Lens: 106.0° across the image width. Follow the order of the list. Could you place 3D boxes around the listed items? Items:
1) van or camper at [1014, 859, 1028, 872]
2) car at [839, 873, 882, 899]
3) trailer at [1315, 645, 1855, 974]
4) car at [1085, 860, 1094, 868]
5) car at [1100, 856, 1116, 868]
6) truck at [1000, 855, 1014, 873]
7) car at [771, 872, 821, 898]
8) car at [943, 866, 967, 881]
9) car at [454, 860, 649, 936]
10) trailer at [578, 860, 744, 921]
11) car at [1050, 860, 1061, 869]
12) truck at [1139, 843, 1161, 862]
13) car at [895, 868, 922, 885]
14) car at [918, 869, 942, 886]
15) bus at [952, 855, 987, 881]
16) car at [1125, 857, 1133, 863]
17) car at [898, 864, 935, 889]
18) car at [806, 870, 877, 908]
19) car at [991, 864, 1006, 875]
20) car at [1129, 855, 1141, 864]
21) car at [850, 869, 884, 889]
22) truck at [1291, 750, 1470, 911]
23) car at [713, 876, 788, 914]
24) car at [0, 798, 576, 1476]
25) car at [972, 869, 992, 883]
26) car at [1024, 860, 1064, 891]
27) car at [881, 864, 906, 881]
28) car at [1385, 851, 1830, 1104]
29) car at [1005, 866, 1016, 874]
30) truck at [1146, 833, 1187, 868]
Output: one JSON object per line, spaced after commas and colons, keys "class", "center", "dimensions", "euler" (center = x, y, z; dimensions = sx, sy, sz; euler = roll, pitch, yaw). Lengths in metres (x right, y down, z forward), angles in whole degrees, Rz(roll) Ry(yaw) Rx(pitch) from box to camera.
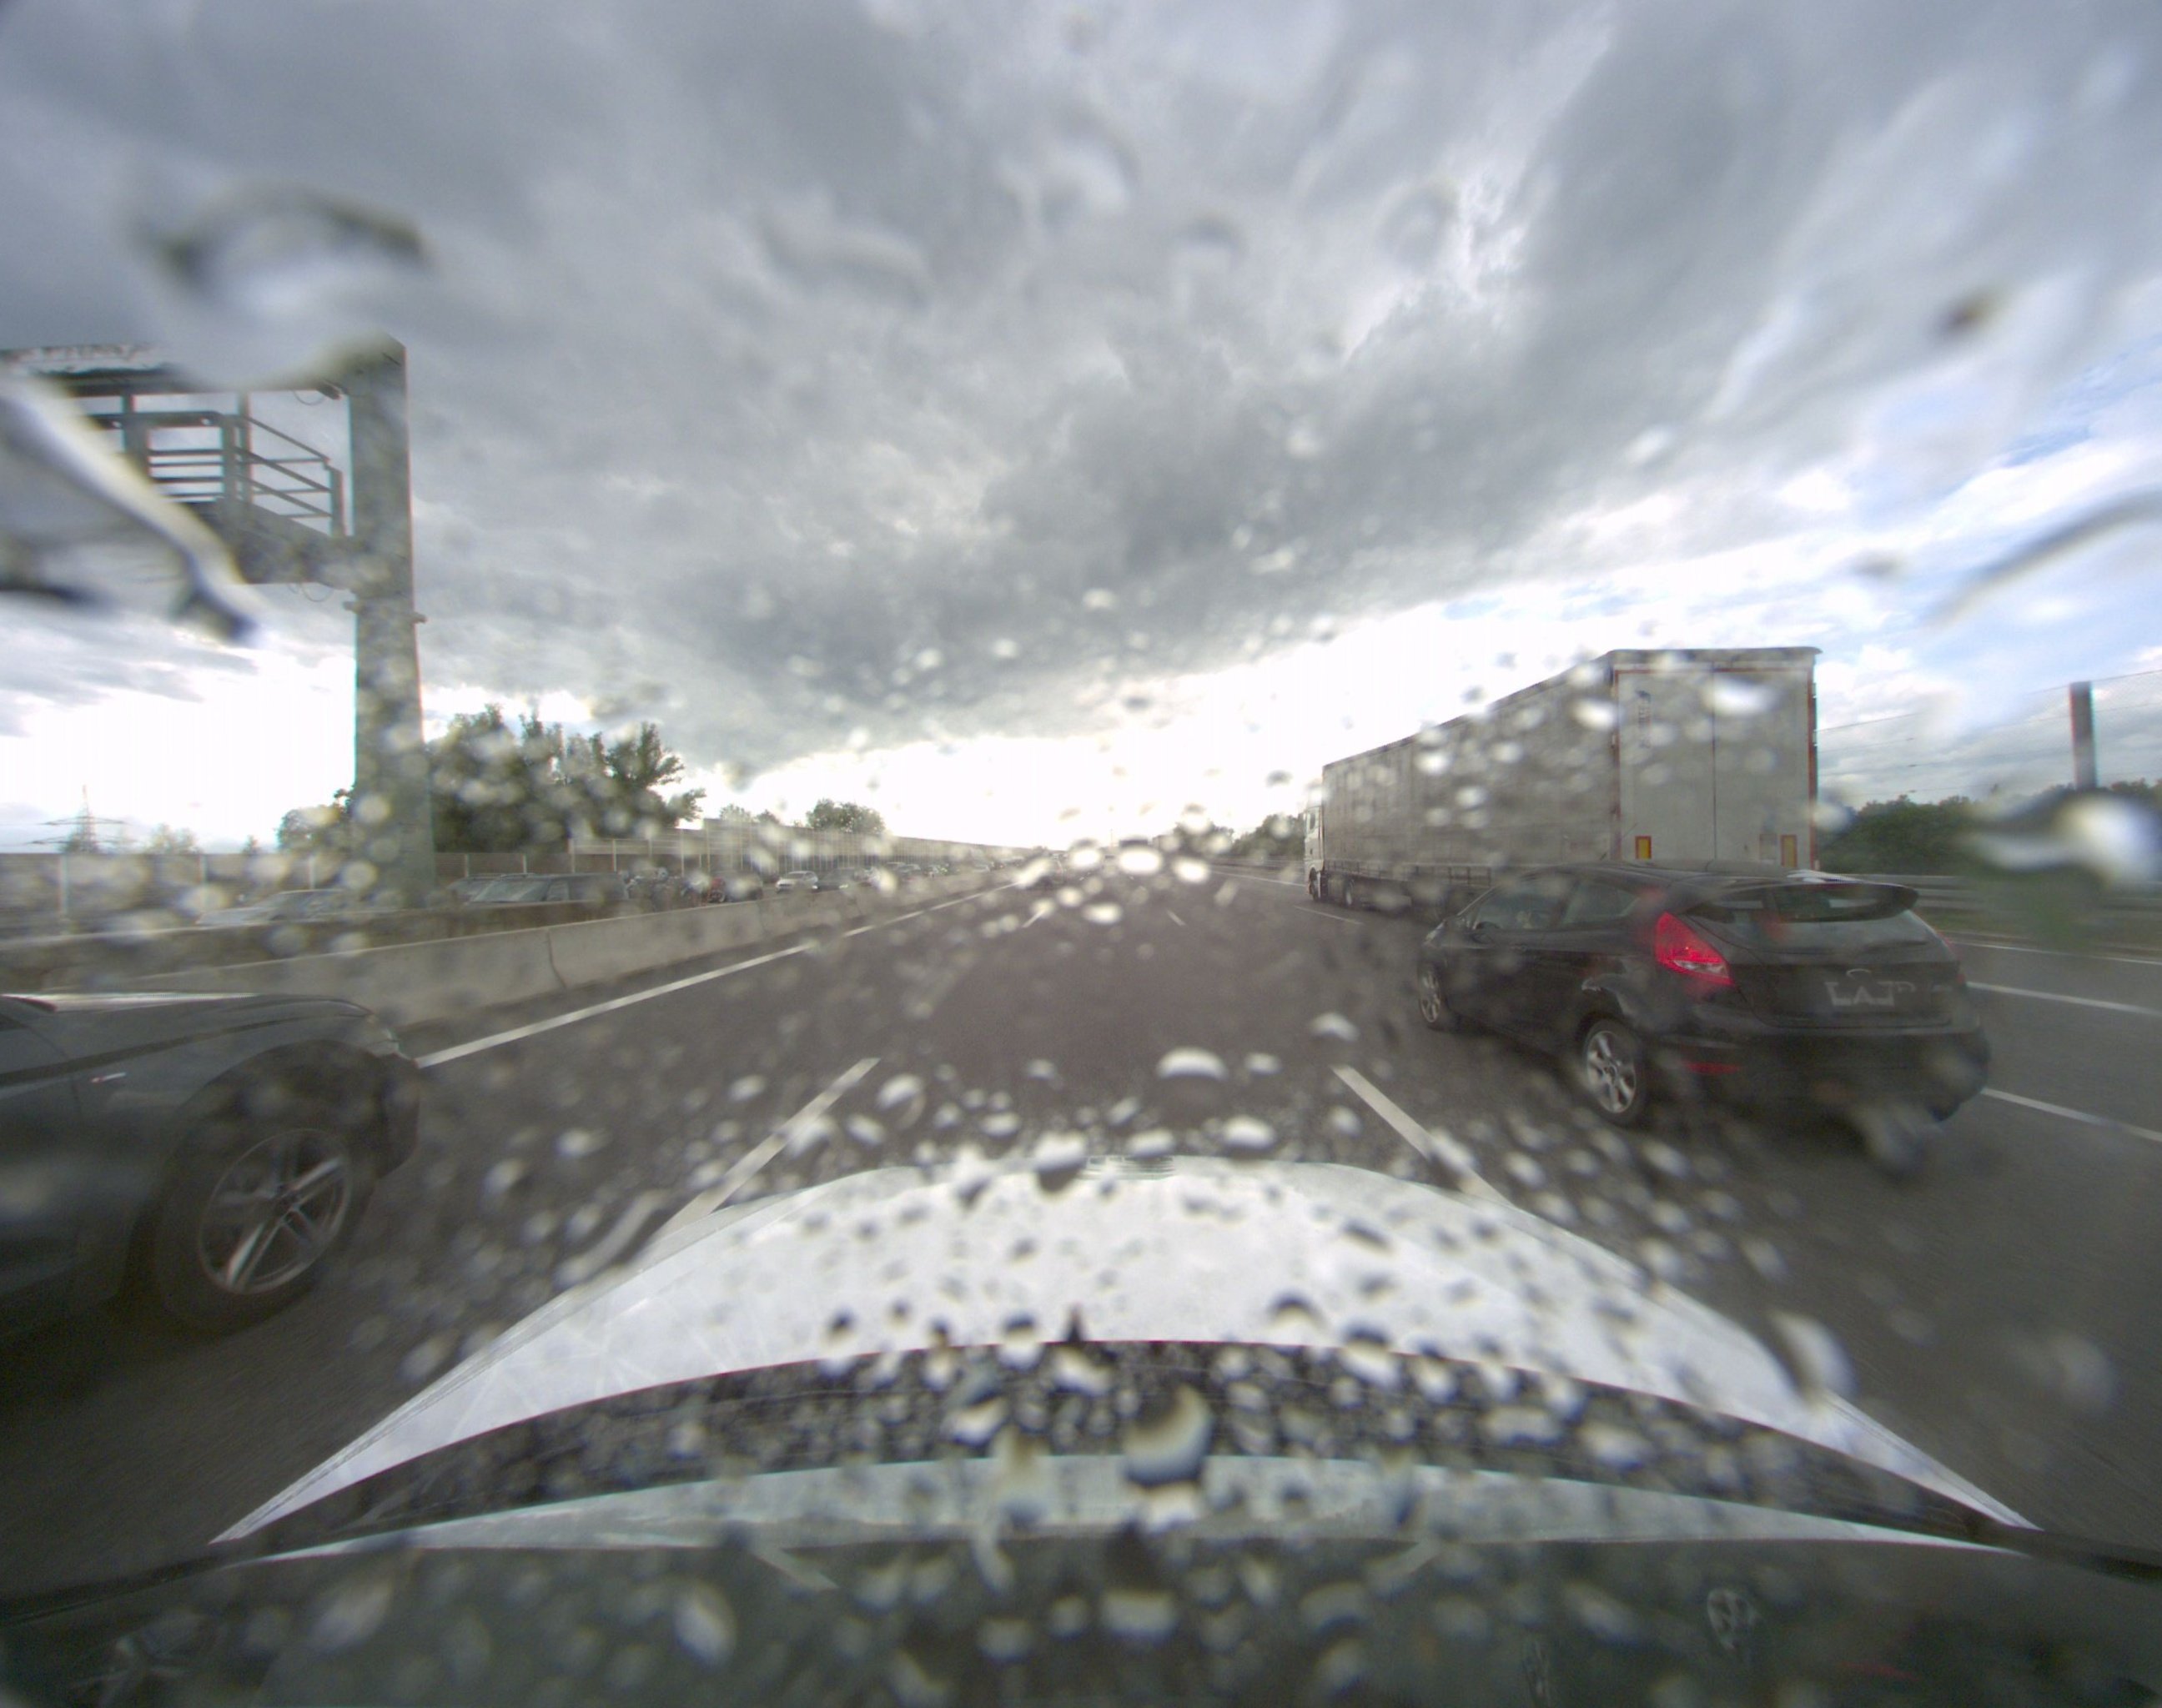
{"class": "van or camper", "center": [-13.659, 2.634, 186.314], "dimensions": [2.335, 2.641, 7.154], "euler": [-2, 0, 3]}
{"class": "car", "center": [-15.755, 2.260, 58.330], "dimensions": [1.741, 1.630, 4.167], "euler": [-2, 0, 2]}
{"class": "trailer", "center": [8.222, -0.578, 17.090], "dimensions": [2.950, 4.020, 14.124], "euler": [-1, 0, 2]}
{"class": "car", "center": [1.637, 1.926, 159.682], "dimensions": [1.767, 1.441, 3.873], "euler": [-1, 0, 0]}
{"class": "car", "center": [3.196, 0.950, 97.846], "dimensions": [1.767, 1.441, 4.054], "euler": [-1, 0, -1]}
{"class": "truck", "center": [-17.209, 2.319, 190.470], "dimensions": [2.566, 3.935, 5.180], "euler": [0, 0, 3]}
{"class": "car", "center": [-19.573, 2.107, 56.101], "dimensions": [1.741, 1.630, 4.393], "euler": [-2, 0, 1]}
{"class": "car", "center": [-14.882, 2.338, 96.157], "dimensions": [1.927, 1.611, 4.180], "euler": [-2, 0, 3]}
{"class": "car", "center": [-13.675, 1.057, 21.453], "dimensions": [1.809, 1.709, 4.809], "euler": [-2, 0, 2]}
{"class": "trailer", "center": [-13.565, 1.091, 26.905], "dimensions": [2.136, 1.709, 6.049], "euler": [-2, 0, 2]}
{"class": "car", "center": [-6.120, 2.452, 194.100], "dimensions": [2.151, 2.071, 6.018], "euler": [-2, 0, 3]}
{"class": "truck", "center": [15.429, -0.314, 184.136], "dimensions": [4.228, 4.176, 11.992], "euler": [0, 0, 1]}
{"class": "car", "center": [-18.448, 2.403, 87.243], "dimensions": [1.740, 1.611, 4.180], "euler": [-2, 0, 3]}
{"class": "car", "center": [-15.168, 2.337, 81.965], "dimensions": [1.614, 1.580, 3.621], "euler": [-2, 0, 3]}
{"class": "bus", "center": [-17.184, 2.031, 126.114], "dimensions": [3.080, 3.758, 11.889], "euler": [-2, 0, 3]}
{"class": "car", "center": [11.564, 1.367, 196.085], "dimensions": [1.829, 1.441, 4.056], "euler": [-1, 0, 1]}
{"class": "car", "center": [-11.854, 1.603, 58.787], "dimensions": [1.740, 1.630, 3.750], "euler": [-2, 0, 2]}
{"class": "car", "center": [-12.456, 1.774, 42.754], "dimensions": [1.872, 1.744, 5.115], "euler": [-2, 0, 4]}
{"class": "car", "center": [-13.048, 2.429, 129.271], "dimensions": [1.740, 1.525, 4.180], "euler": [-2, 0, 3]}
{"class": "car", "center": [9.174, 0.987, 137.686], "dimensions": [1.829, 1.441, 4.056], "euler": [-1, 0, 1]}
{"class": "car", "center": [-19.155, 2.187, 73.093], "dimensions": [1.742, 1.630, 4.644], "euler": [-2, 0, 0]}
{"class": "truck", "center": [8.389, -0.616, 23.831], "dimensions": [2.950, 4.020, 6.591], "euler": [-1, 0, 2]}
{"class": "car", "center": [-16.278, 1.991, 40.357], "dimensions": [1.740, 1.630, 4.170], "euler": [-2, 0, 4]}
{"class": "car", "center": [-3.675, 0.726, 1.658], "dimensions": [1.901, 1.691, 5.171], "euler": [-1, 0, 2]}
{"class": "car", "center": [-10.834, 2.395, 89.207], "dimensions": [1.565, 1.394, 3.578], "euler": [-2, 0, 3]}
{"class": "car", "center": [-1.756, 1.015, 39.952], "dimensions": [1.755, 1.369, 5.058], "euler": [-1, 0, 0]}
{"class": "car", "center": [-22.174, 2.170, 96.515], "dimensions": [1.741, 1.893, 4.784], "euler": [-2, 0, 1]}
{"class": "car", "center": [3.636, 0.715, 6.295], "dimensions": [1.441, 1.441, 3.165], "euler": [-1, 0, 1]}
{"class": "car", "center": [-14.456, 3.188, 167.706], "dimensions": [1.740, 1.525, 4.180], "euler": [-2, 0, 3]}
{"class": "truck", "center": [10.926, -0.437, 105.702], "dimensions": [4.165, 4.288, 12.614], "euler": [0, 0, 1]}
